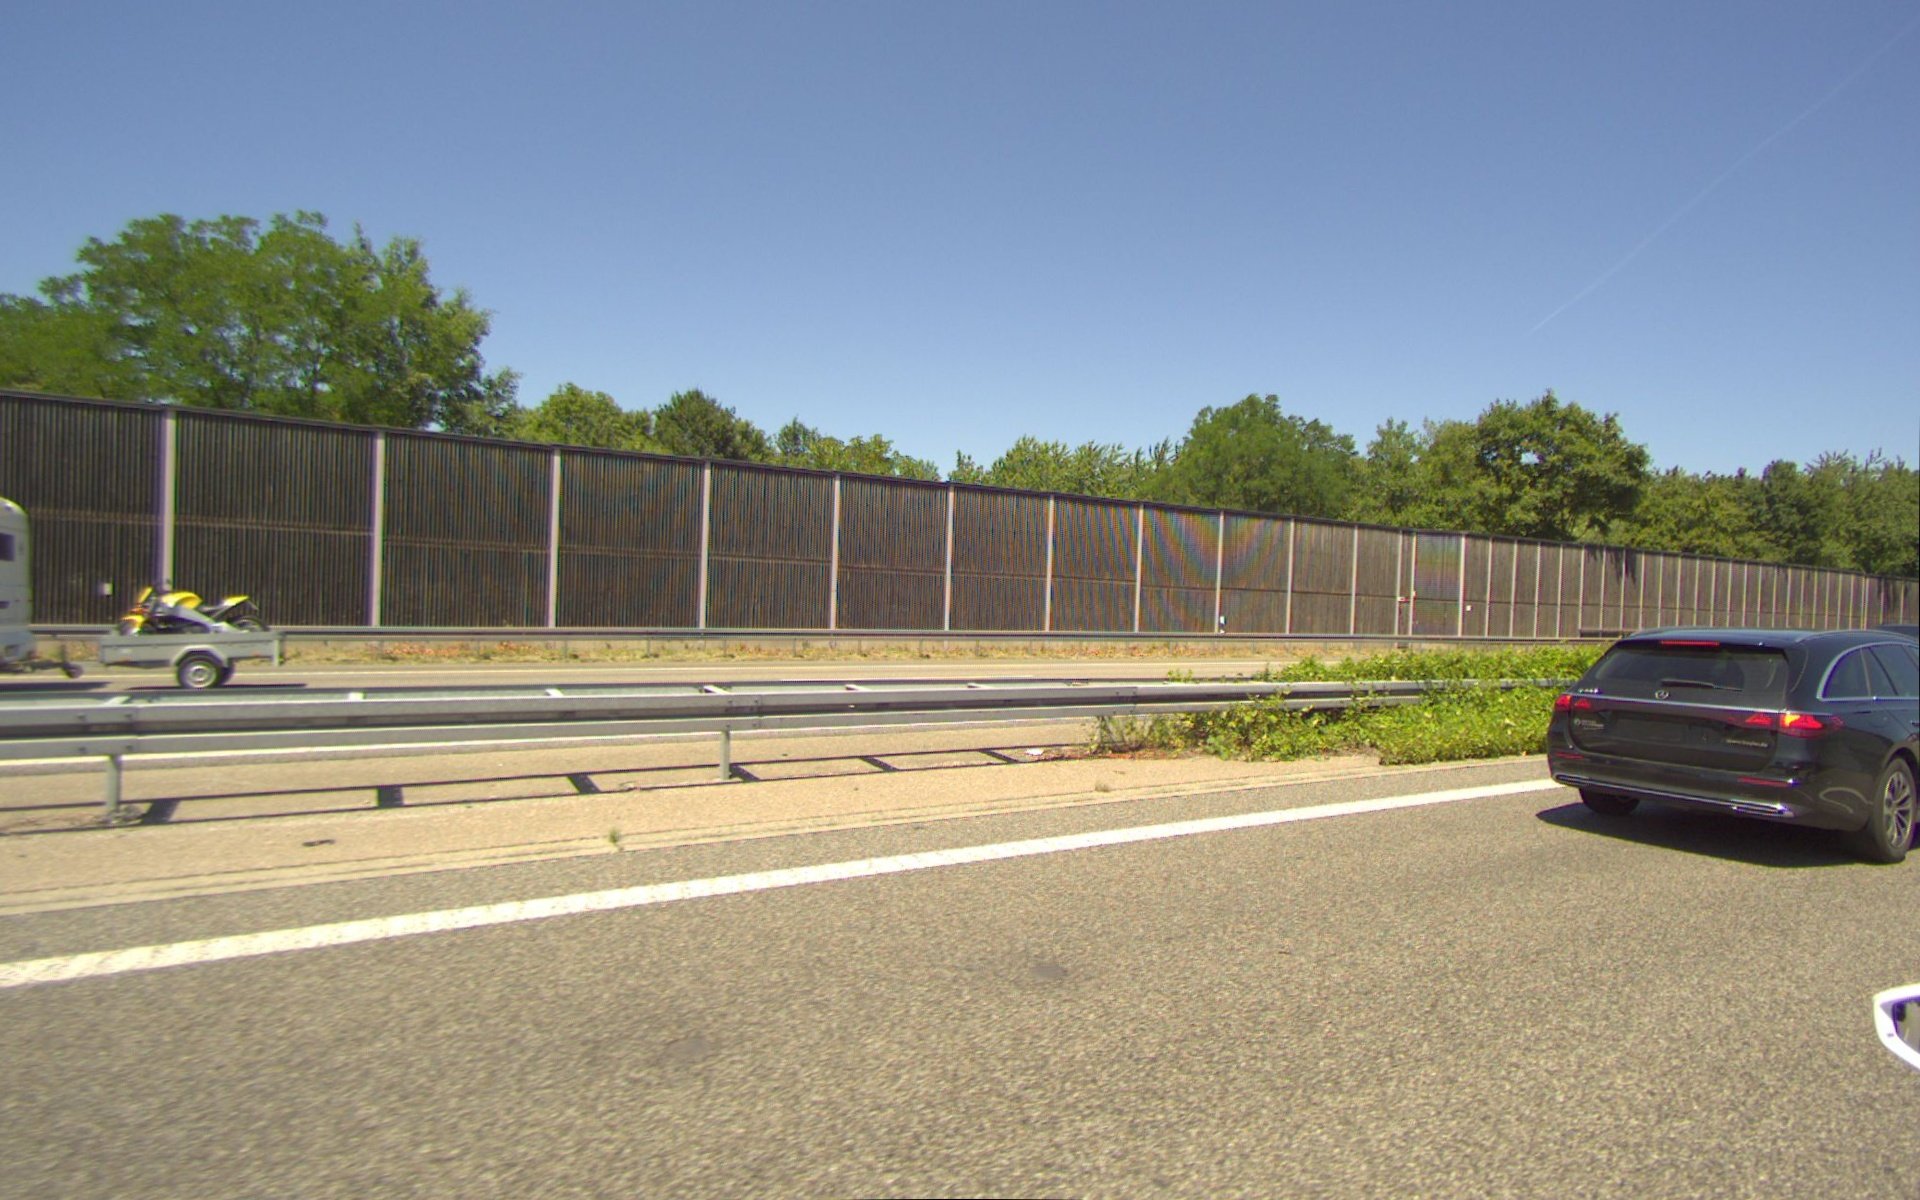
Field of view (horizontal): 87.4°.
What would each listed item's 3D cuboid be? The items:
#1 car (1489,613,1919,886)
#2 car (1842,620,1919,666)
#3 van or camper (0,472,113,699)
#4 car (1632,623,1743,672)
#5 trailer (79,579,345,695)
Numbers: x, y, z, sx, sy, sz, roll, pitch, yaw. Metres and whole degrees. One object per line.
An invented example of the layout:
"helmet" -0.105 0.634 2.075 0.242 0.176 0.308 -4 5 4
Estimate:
"car" 6.868 0.931 8.046 5.753 1.526 1.934 2 0 -31
"car" 30.842 1.399 32.971 3.954 1.373 1.698 2 0 -31
"van or camper" -15.695 -0.250 12.642 7.291 2.952 2.545 2 -1 -31
"car" 26.167 1.686 36.116 3.954 1.621 1.805 2 0 -31
"trailer" -11.259 0.553 15.388 3.057 1.599 1.718 2 -1 -31
